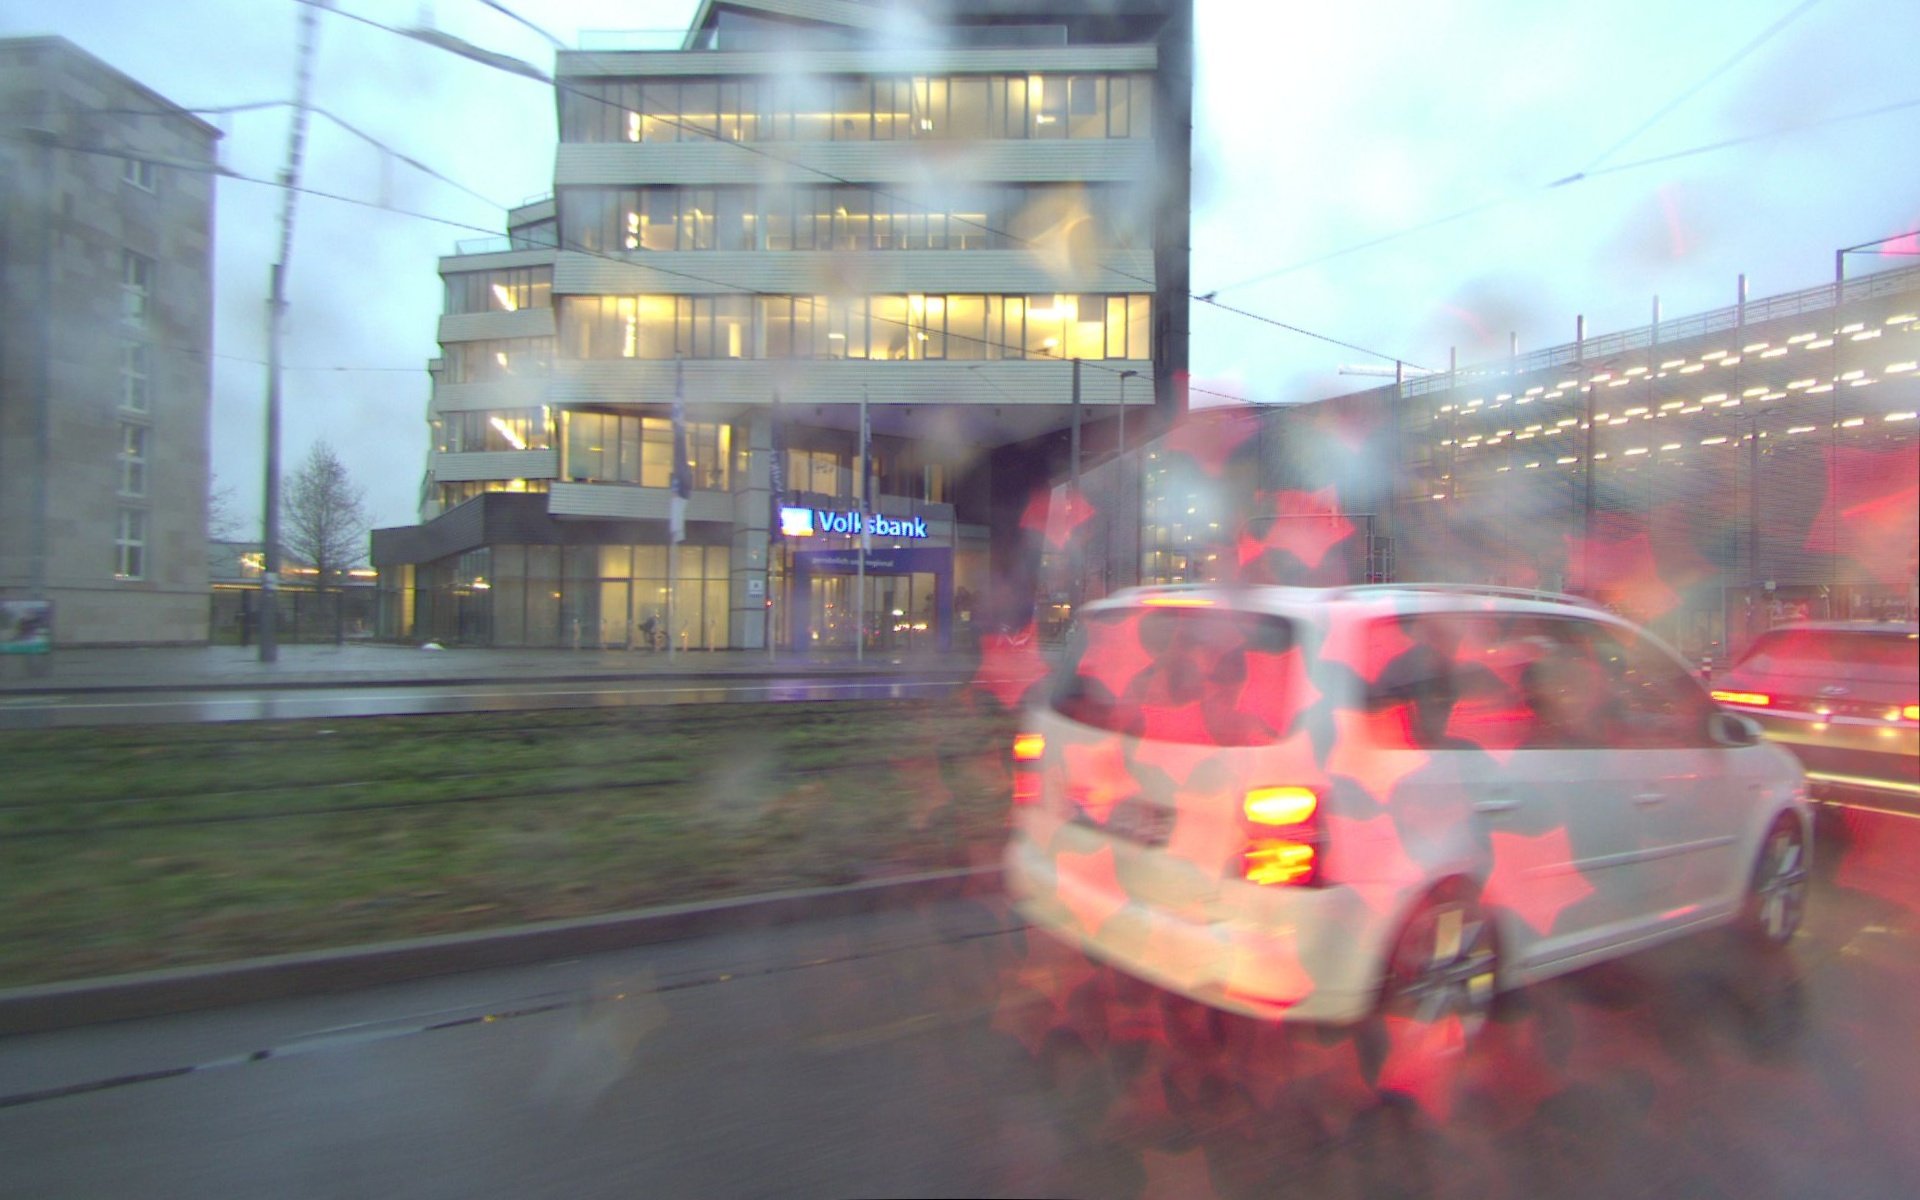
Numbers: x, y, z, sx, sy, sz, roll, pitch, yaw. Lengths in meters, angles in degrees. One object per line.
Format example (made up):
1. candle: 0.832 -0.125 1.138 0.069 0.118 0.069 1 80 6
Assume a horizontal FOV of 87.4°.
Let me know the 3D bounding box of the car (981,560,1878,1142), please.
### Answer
1. car: 2.307 0.741 4.592 4.174 1.620 1.663 2 0 -31

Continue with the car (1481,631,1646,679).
1. car: 18.352 1.664 30.573 4.398 1.404 1.642 1 -1 -13

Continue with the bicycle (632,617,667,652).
1. bicycle: -10.235 1.135 33.125 0.518 1.142 1.499 1 -1 7

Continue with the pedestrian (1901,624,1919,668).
1. pedestrian: 55.356 2.659 58.106 0.954 2.471 1.105 2 0 -29

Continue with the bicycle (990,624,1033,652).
1. bicycle: 2.014 1.459 38.876 1.582 1.084 0.637 1 -1 -30

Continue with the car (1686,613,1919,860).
1. car: 7.715 0.938 8.048 4.319 1.591 1.809 2 -2 -35
